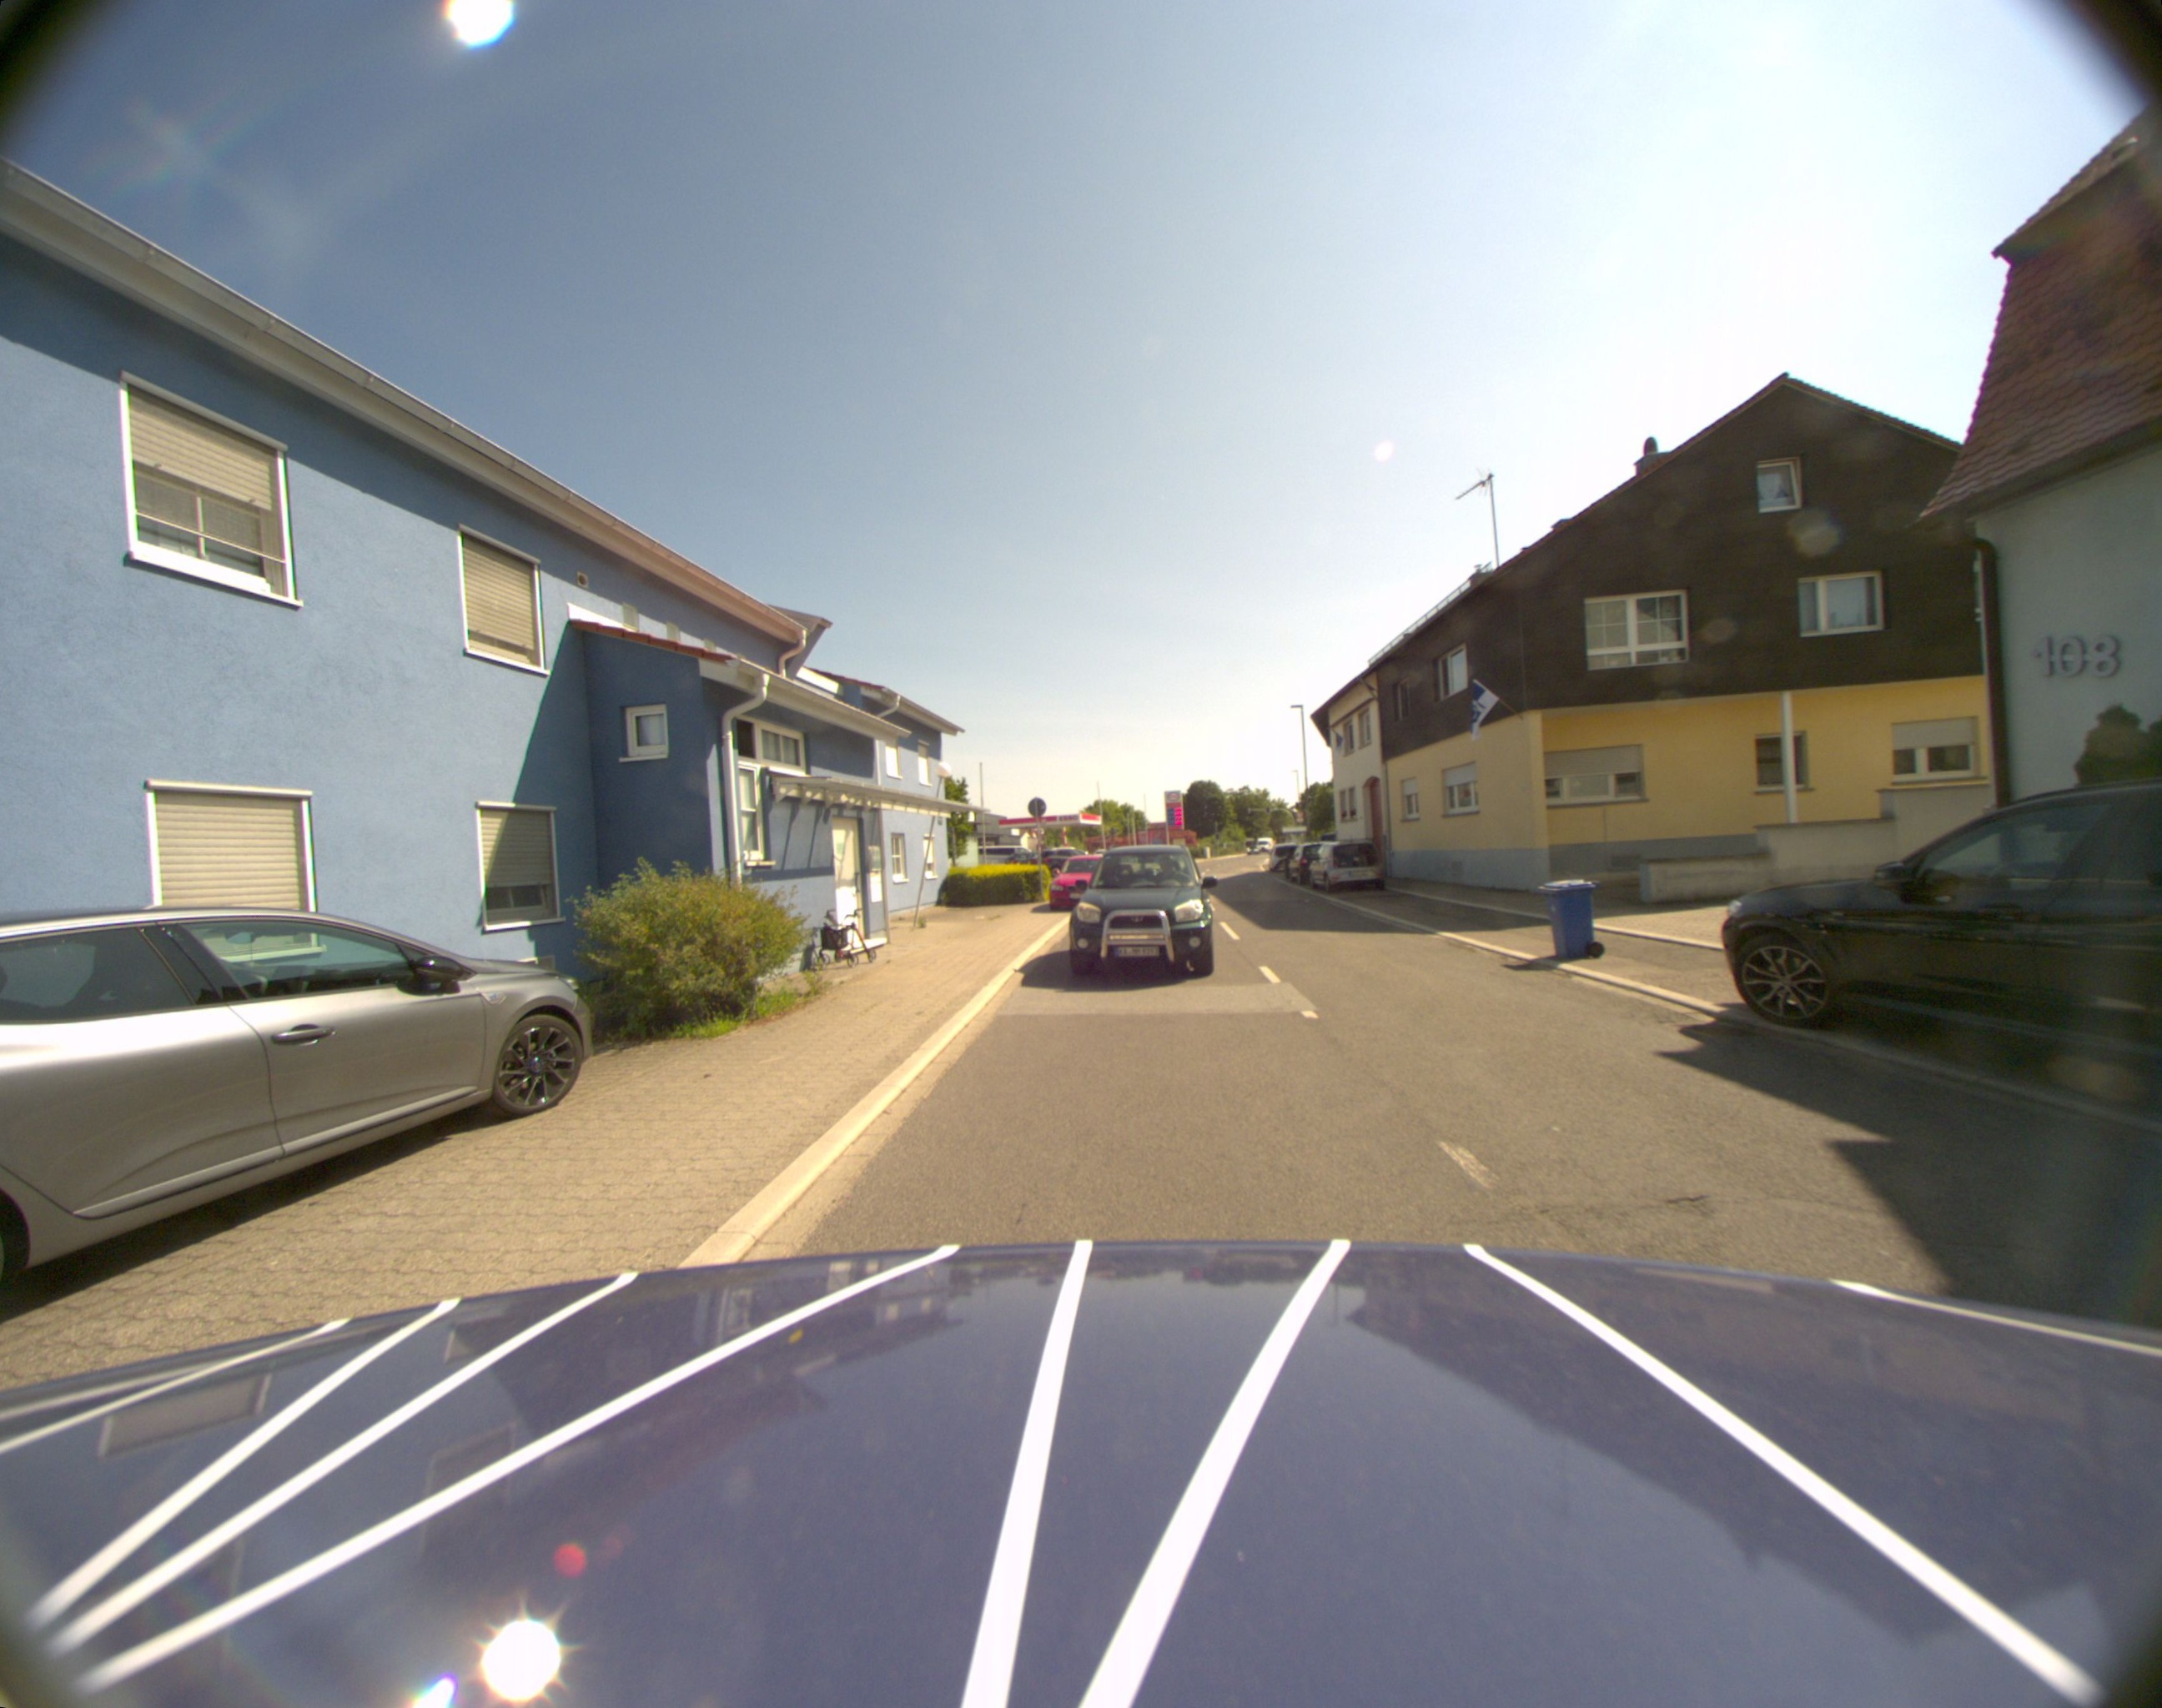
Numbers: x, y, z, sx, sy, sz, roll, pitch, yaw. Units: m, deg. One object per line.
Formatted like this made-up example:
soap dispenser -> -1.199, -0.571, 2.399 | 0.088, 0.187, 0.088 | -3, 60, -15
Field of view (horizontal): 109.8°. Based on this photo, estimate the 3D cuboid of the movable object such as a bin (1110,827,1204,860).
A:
movable object such as a bin -> 11.217, -1.497, 112.254 | 13.272, 4.141, 2.866 | -3, 1, 16

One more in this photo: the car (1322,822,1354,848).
car -> 22.383, -1.663, 66.265 | 2.129, 1.974, 5.270 | -8, 0, 16

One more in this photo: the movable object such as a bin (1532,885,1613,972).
movable object such as a bin -> 6.014, 0.897, 9.315 | 0.598, 0.976, 0.531 | -4, 1, 4

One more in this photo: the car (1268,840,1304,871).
car -> 11.014, 0.068, 40.996 | 1.686, 1.453, 3.652 | -4, 1, 13

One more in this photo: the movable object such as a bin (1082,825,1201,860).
movable object such as a bin -> 8.293, -1.486, 104.884 | 16.074, 3.995, 2.776 | -3, 1, 16

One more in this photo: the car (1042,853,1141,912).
car -> 0.424, 0.807, 21.392 | 1.735, 1.485, 4.361 | -1, -2, 15

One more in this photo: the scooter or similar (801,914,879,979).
scooter or similar -> -3.489, 1.336, 11.059 | 0.729, 0.810, 0.828 | -3, 1, 10

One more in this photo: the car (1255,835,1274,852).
car -> 29.639, -1.749, 122.469 | 1.935, 2.488, 5.846 | -2, 1, 23

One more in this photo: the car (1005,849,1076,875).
car -> -2.755, 0.533, 51.175 | 4.321, 1.541, 1.981 | -3, 1, -20

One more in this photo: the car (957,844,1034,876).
car -> -6.108, 0.383, 54.031 | 5.286, 2.002, 2.230 | -3, 1, -10

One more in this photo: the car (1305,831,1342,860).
car -> 17.306, -0.614, 54.186 | 1.839, 1.782, 4.349 | -6, 0, 25

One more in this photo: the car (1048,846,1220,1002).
car -> 0.885, 0.793, 10.587 | 1.847, 1.686, 4.401 | -2, 0, 8

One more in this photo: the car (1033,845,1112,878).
car -> -0.491, 0.403, 43.779 | 4.117, 1.644, 1.828 | -3, 1, -21

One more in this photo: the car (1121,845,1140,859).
car -> 6.182, -0.270, 95.067 | 1.844, 1.583, 4.108 | -3, 1, 10

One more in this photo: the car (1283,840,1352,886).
car -> 8.735, 0.275, 28.378 | 1.682, 1.429, 3.997 | -6, 0, 8

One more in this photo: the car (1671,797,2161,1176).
car -> 5.911, 0.566, 4.088 | 1.924, 1.658, 4.666 | -5, 1, 3

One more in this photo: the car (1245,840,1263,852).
car -> 25.135, -1.245, 110.474 | 1.843, 1.583, 4.111 | -2, 1, 23

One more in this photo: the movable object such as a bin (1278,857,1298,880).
movable object such as a bin -> 8.795, 0.604, 32.265 | 0.552, 0.923, 0.825 | -7, 0, 2

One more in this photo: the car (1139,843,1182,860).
car -> 7.698, -0.219, 74.166 | 1.777, 1.546, 4.172 | -3, 1, -35

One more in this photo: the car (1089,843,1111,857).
car -> 2.393, -0.521, 95.669 | 2.002, 1.583, 4.341 | -3, 1, 10

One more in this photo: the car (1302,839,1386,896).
car -> 8.032, 0.361, 23.544 | 1.644, 1.492, 3.783 | -5, 1, 8

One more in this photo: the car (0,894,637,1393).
car -> -4.299, 1.085, 3.478 | 1.693, 1.412, 4.146 | -4, 1, 6
